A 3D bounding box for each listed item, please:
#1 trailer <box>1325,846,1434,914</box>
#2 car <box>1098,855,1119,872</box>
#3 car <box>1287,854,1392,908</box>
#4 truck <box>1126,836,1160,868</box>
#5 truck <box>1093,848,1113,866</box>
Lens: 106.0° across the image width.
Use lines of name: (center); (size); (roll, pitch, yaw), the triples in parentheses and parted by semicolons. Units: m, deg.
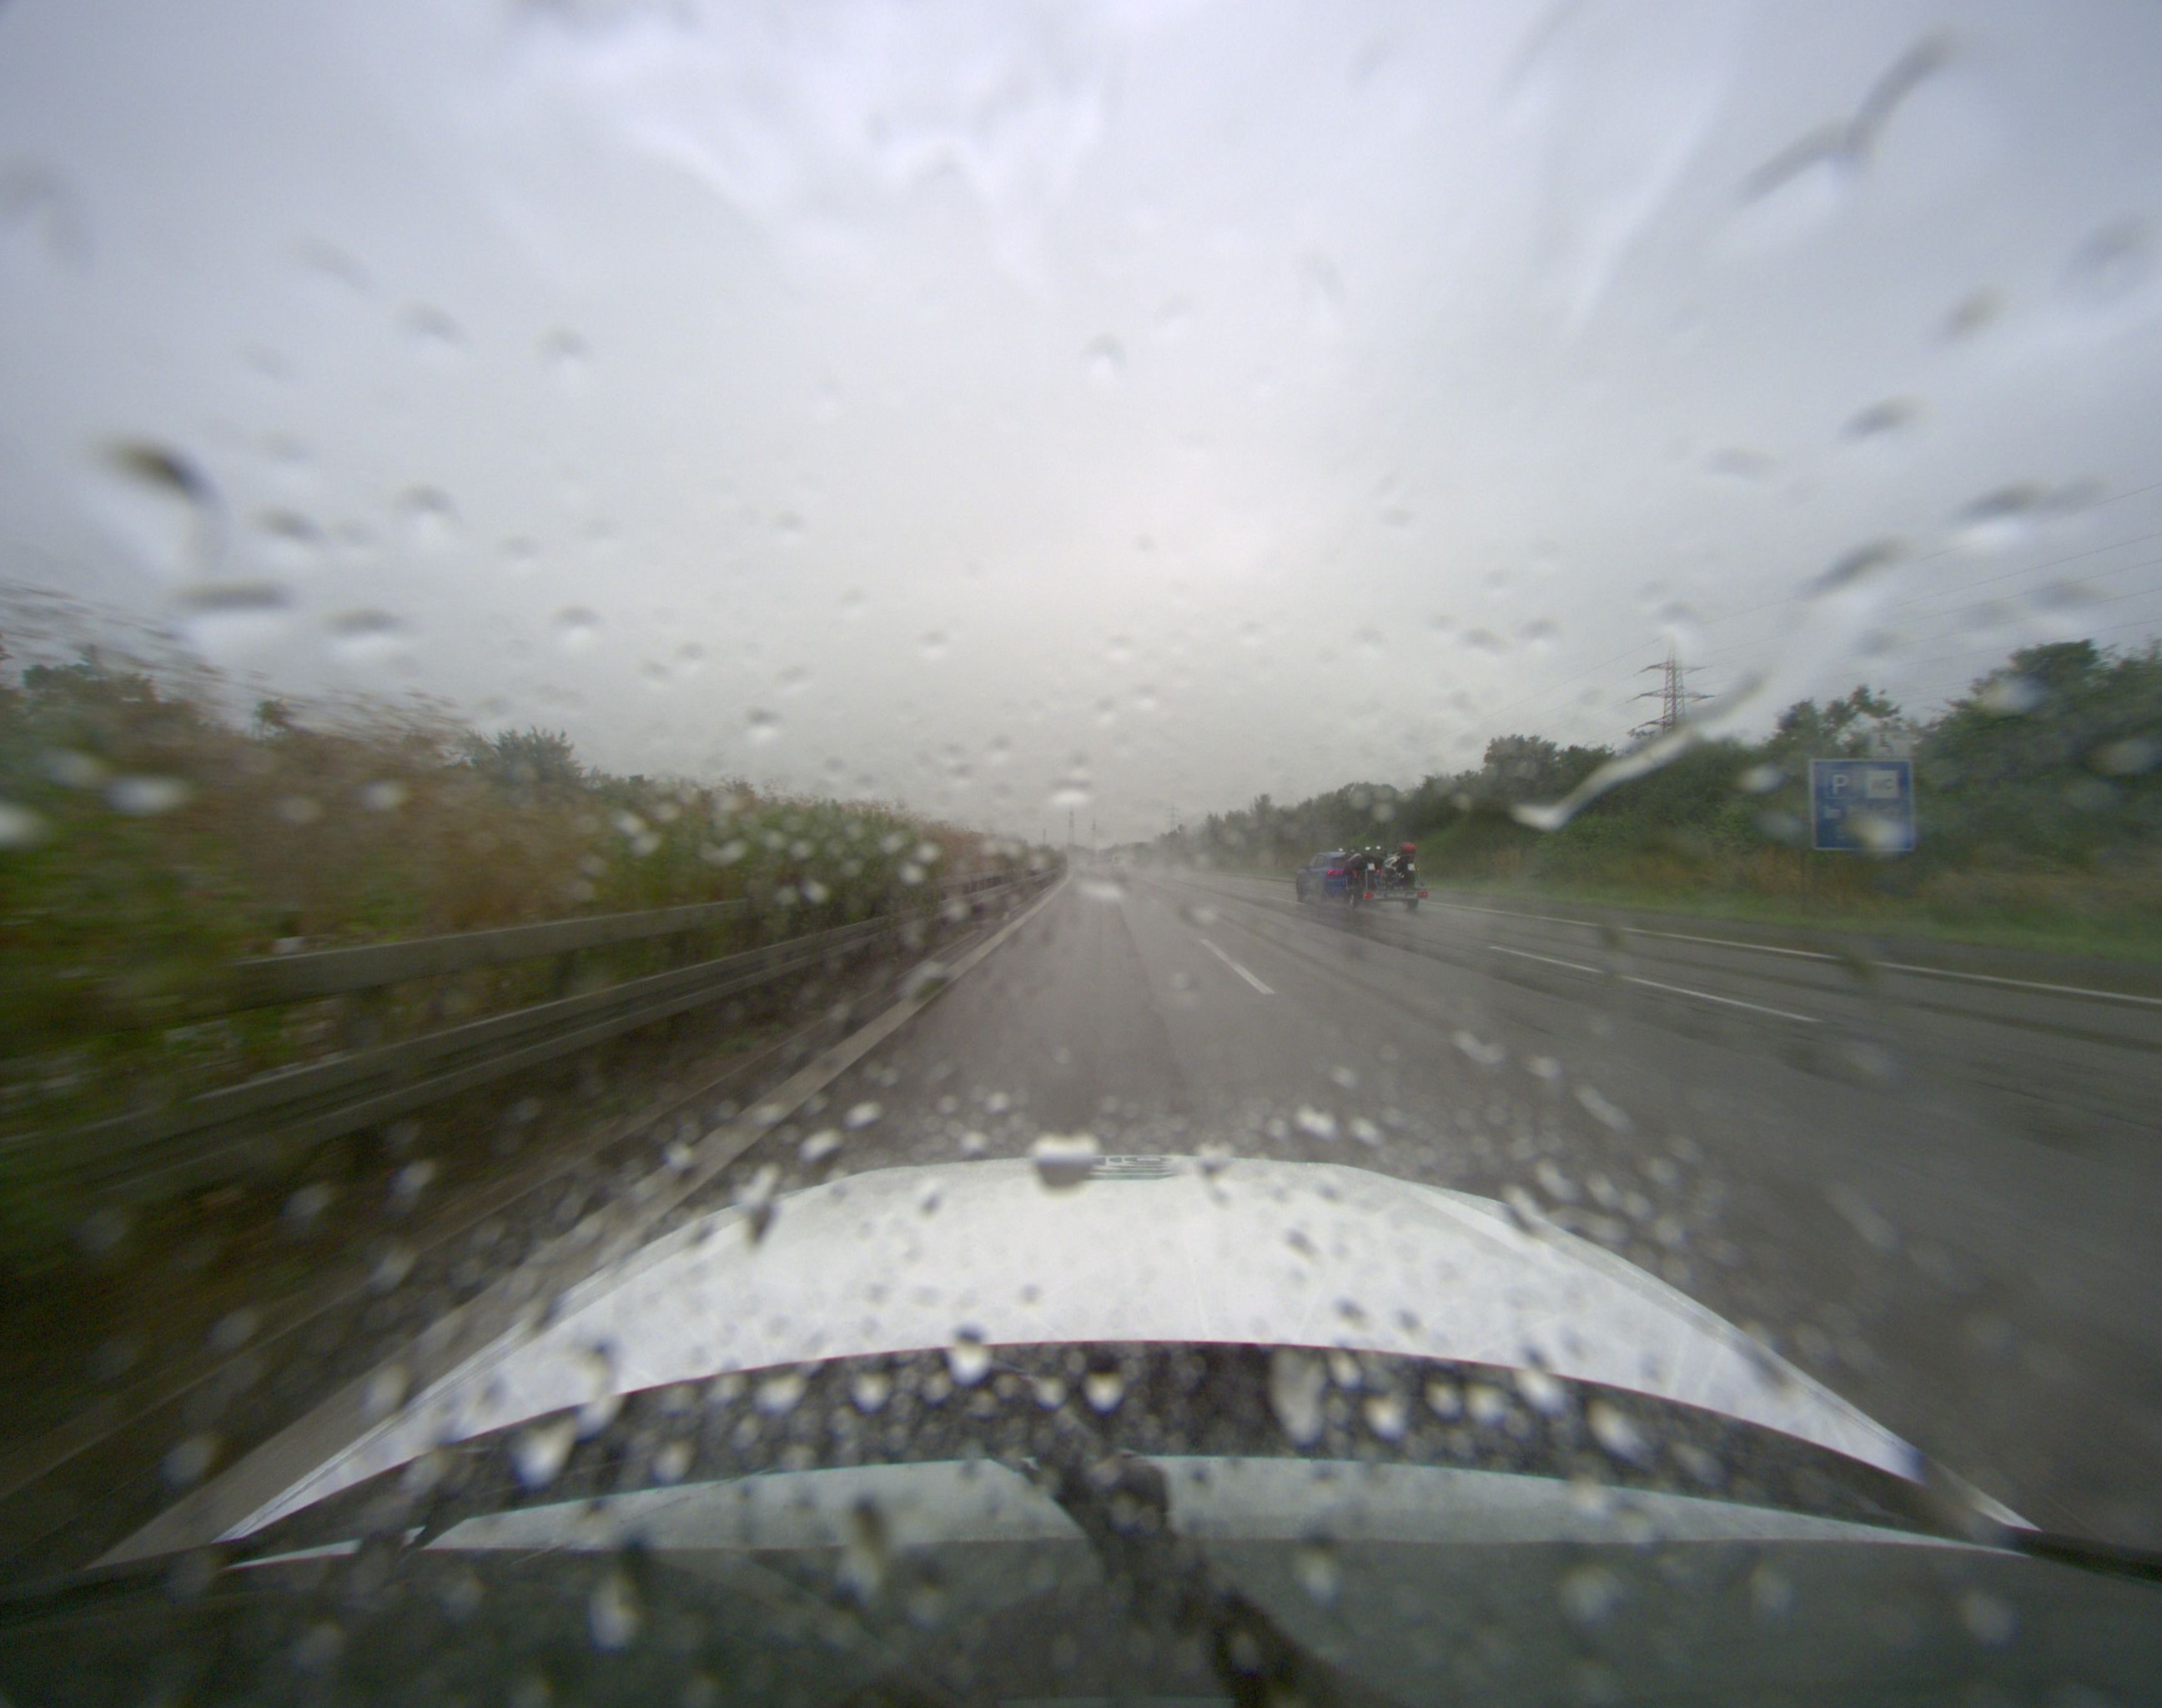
trailer: (8.341, 0.711, 23.071); (1.971, 1.785, 3.189); (-1, -1, 1)
car: (3.440, 1.193, 102.894); (1.993, 2.014, 3.987); (-1, 0, -9)
car: (8.461, 0.867, 27.194); (1.986, 1.619, 4.992); (-1, -1, 1)
truck: (9.575, -0.212, 128.686); (4.175, 4.630, 16.102); (-1, -1, 0)
truck: (5.336, 0.790, 199.125); (3.231, 4.311, 8.811); (-1, 0, -8)
